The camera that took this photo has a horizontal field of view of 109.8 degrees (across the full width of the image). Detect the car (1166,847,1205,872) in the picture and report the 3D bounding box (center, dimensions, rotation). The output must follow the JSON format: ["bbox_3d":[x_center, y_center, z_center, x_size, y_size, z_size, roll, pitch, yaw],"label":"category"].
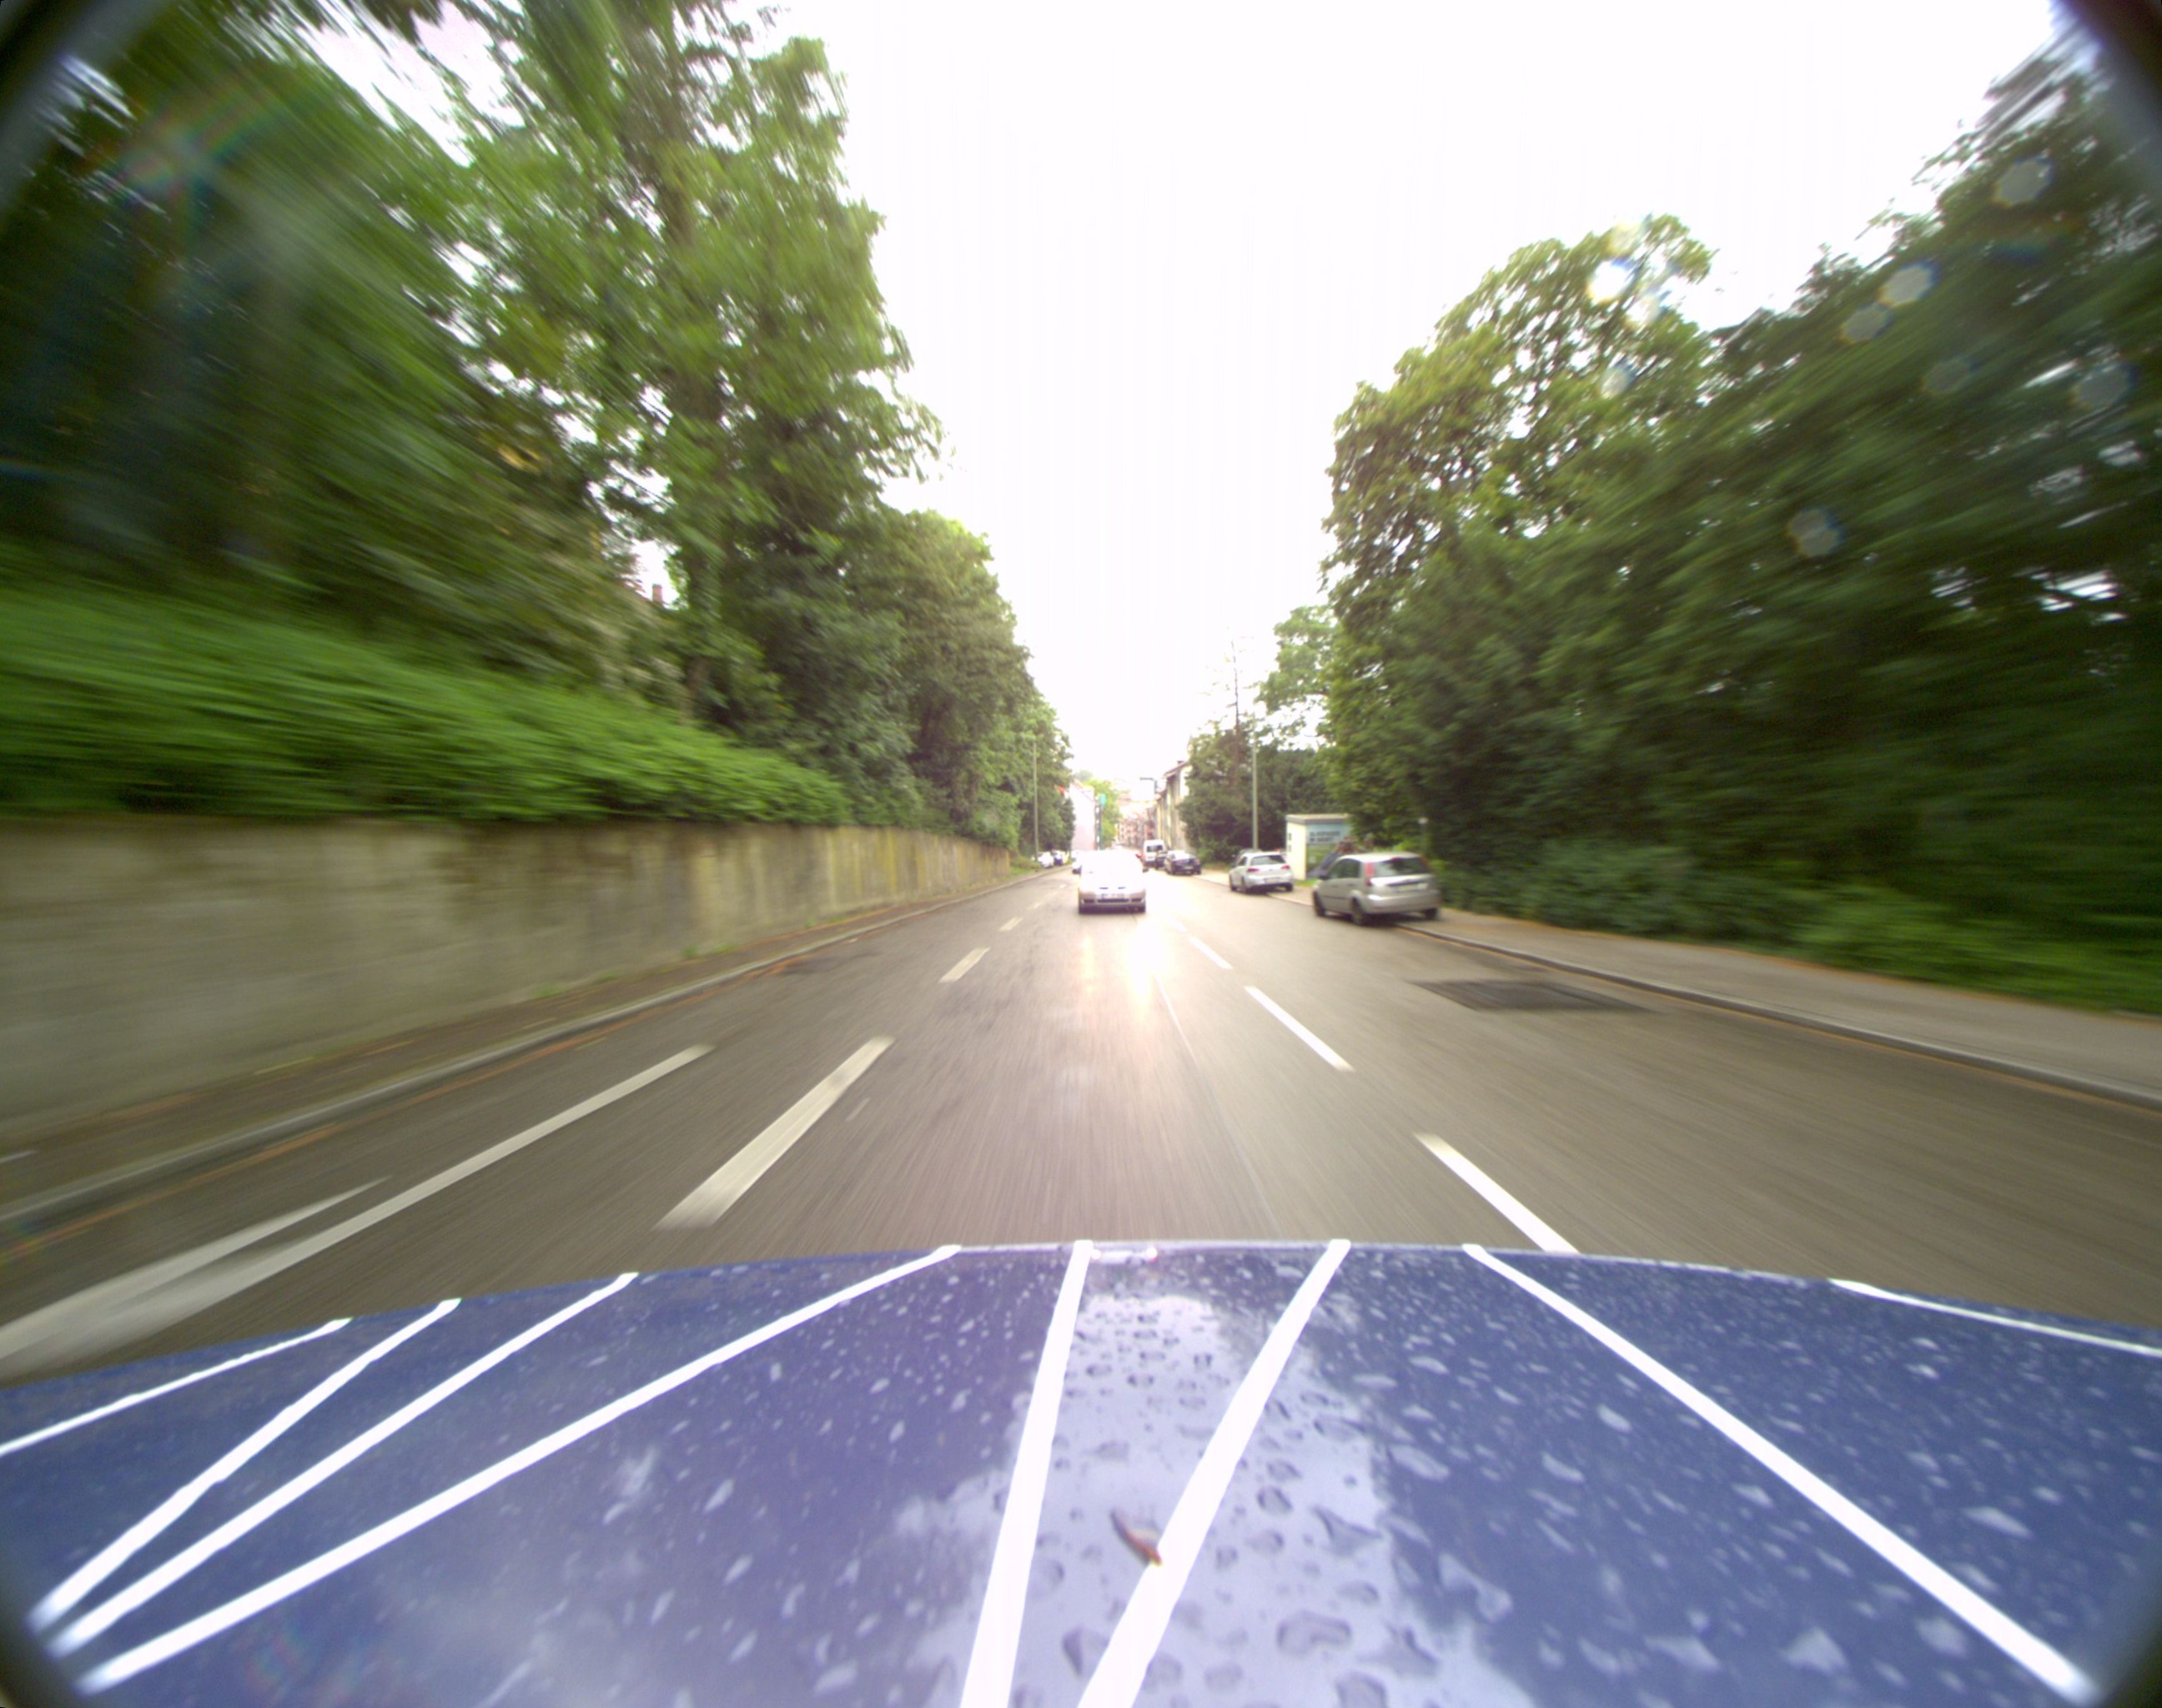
[{"bbox_3d":[6.717,0.325,49.133,1.864,1.485,4.755,2,1,0],"label":"car"}]

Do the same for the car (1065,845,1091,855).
[{"bbox_3d":[-0.537,-0.669,126.759,4.192,1.565,1.803,2,1,3],"label":"car"}]

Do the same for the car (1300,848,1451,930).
[{"bbox_3d":[6.298,0.672,16.737,1.630,1.490,3.927,-4,1,-2],"label":"car"}]

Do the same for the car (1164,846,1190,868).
[{"bbox_3d":[7.045,0.220,55.970,1.659,1.560,4.149,-1,0,4],"label":"car"}]

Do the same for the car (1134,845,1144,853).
[{"bbox_3d":[11.748,-1.067,153.800,1.908,1.647,4.329,0,1,4],"label":"car"}]

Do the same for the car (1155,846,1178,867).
[{"bbox_3d":[6.923,0.165,61.693,1.648,1.595,4.186,1,1,4],"label":"car"}]

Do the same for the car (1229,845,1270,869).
[{"bbox_3d":[10.811,0.160,49.060,1.727,1.450,4.396,-1,1,1],"label":"car"}]

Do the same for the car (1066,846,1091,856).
[{"bbox_3d":[-0.499,-0.468,131.841,4.192,1.565,1.803,2,1,3],"label":"car"}]

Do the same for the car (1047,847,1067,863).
[{"bbox_3d":[-2.509,0.048,81.306,1.769,1.614,4.679,-1,1,2],"label":"car"}]

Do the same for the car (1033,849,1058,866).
[{"bbox_3d":[-3.266,0.279,70.470,1.742,1.469,4.741,1,1,4],"label":"car"}]

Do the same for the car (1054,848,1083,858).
[{"bbox_3d":[-1.831,-0.114,112.141,4.192,1.408,1.803,0,1,3],"label":"car"}]

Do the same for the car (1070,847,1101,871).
[{"bbox_3d":[0.377,0.308,54.693,1.998,1.603,3.967,-2,1,3],"label":"car"}]

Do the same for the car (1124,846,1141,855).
[{"bbox_3d":[7.794,-0.521,114.636,1.726,1.427,3.917,1,1,17],"label":"car"}]

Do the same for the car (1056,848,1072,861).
[{"bbox_3d":[-1.974,0.032,88.918,1.567,1.459,3.899,1,1,4],"label":"car"}]

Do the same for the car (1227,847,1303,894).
[{"bbox_3d":[6.777,0.546,28.473,1.891,1.602,4.239,1,1,1],"label":"car"}]

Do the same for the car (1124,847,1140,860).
[{"bbox_3d":[6.059,-0.094,90.325,1.765,1.482,4.001,0,1,4],"label":"car"}]

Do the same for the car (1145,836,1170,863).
[{"bbox_3d":[7.317,-0.452,73.061,2.122,2.536,5.444,1,1,3],"label":"car"}]

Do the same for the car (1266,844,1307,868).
[{"bbox_3d":[13.038,0.096,48.446,1.625,1.450,3.774,-1,1,1],"label":"car"}]

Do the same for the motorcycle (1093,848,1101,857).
[{"bbox_3d":[2.141,-0.231,102.190,0.778,1.120,2.300,-3,1,6],"label":"motorcycle"}]

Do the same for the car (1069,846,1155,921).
[{"bbox_3d":[0.902,0.636,19.120,1.825,1.603,4.190,-2,1,6],"label":"car"}]
